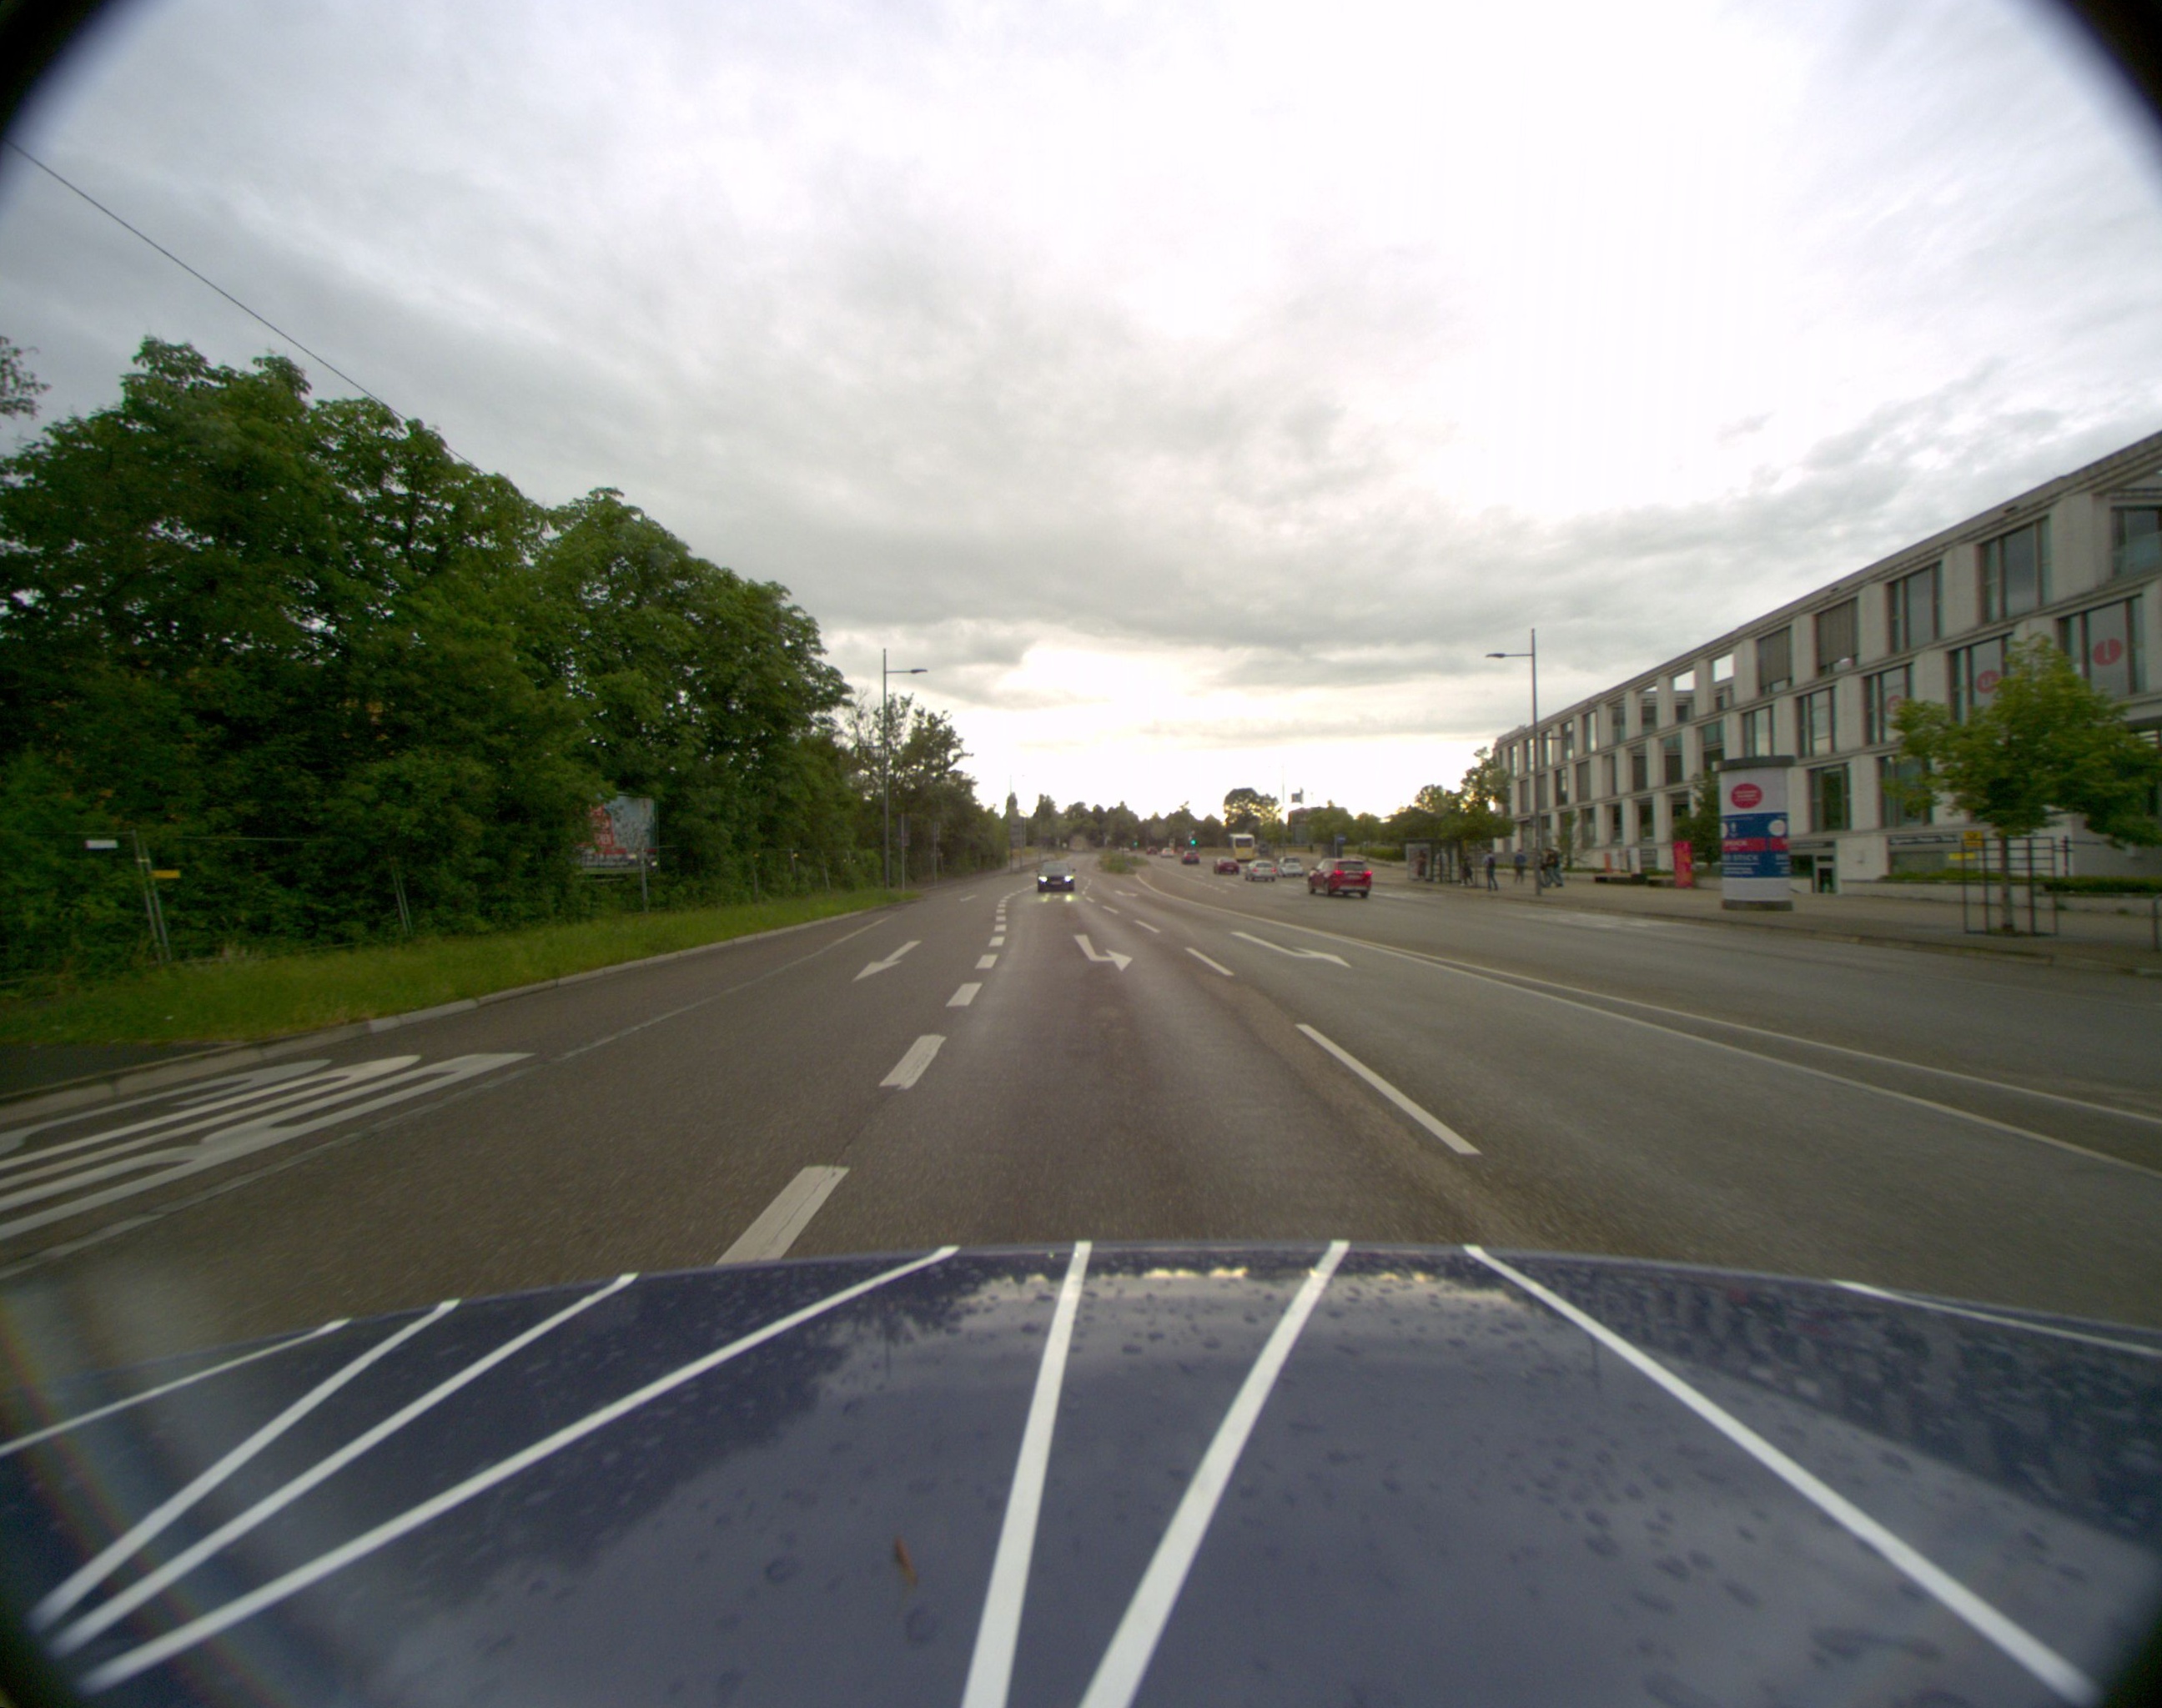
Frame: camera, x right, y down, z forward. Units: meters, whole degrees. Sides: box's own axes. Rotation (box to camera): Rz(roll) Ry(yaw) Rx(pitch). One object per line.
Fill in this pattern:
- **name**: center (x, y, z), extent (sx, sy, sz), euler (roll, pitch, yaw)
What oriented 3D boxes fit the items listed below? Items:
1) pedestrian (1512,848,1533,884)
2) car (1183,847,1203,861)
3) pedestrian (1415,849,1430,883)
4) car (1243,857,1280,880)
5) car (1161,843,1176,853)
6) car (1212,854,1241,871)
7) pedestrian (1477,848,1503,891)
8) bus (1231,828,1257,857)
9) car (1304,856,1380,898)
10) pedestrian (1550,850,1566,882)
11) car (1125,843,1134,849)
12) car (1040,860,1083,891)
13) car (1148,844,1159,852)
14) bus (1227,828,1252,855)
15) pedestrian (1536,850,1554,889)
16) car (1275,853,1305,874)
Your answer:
- **pedestrian**: center (22.085, 0.590, 38.058), extent (0.600, 1.752, 0.857), euler (-1, 1, 4)
- **car**: center (13.942, -0.056, 94.752), extent (1.836, 1.563, 4.593), euler (2, 1, 2)
- **pedestrian**: center (18.640, 0.661, 41.479), extent (0.508, 1.832, 0.755), euler (-1, 1, 1)
- **car**: center (12.447, 0.983, 52.653), extent (1.766, 1.408, 3.879), euler (2, 0, 2)
- **car**: center (14.052, -1.005, 122.190), extent (1.877, 1.422, 4.175), euler (2, 1, 2)
- **car**: center (12.870, 0.716, 67.326), extent (1.836, 1.408, 4.466), euler (2, 0, 2)
- **pedestrian**: center (17.707, 0.682, 32.878), extent (0.755, 1.832, 0.746), euler (-1, 1, 4)
- **bus**: center (20.774, -1.510, 97.239), extent (2.826, 3.453, 8.234), euler (-2, 2, 9)
- **car**: center (11.631, 0.956, 34.216), extent (1.857, 1.673, 4.738), euler (2, 0, 2)
- **pedestrian**: center (21.918, 0.541, 34.895), extent (0.427, 1.443, 0.510), euler (-1, 1, 3)
- **car**: center (11.681, -1.998, 182.701), extent (1.998, 1.410, 4.512), euler (-1, 1, 2)
- **car**: center (-0.992, 1.040, 37.670), extent (1.990, 1.391, 4.175), euler (-1, 0, -2)
- **car**: center (13.792, -1.065, 144.345), extent (1.851, 1.454, 3.867), euler (0, 1, 2)
- **bus**: center (22.106, -1.867, 106.277), extent (2.826, 3.453, 9.977), euler (-2, 2, 9)
- **pedestrian**: center (20.832, 0.677, 34.138), extent (0.427, 1.715, 0.621), euler (-1, 1, 3)
- **car**: center (16.449, 0.736, 59.997), extent (1.617, 1.499, 2.972), euler (-2, 1, 2)
